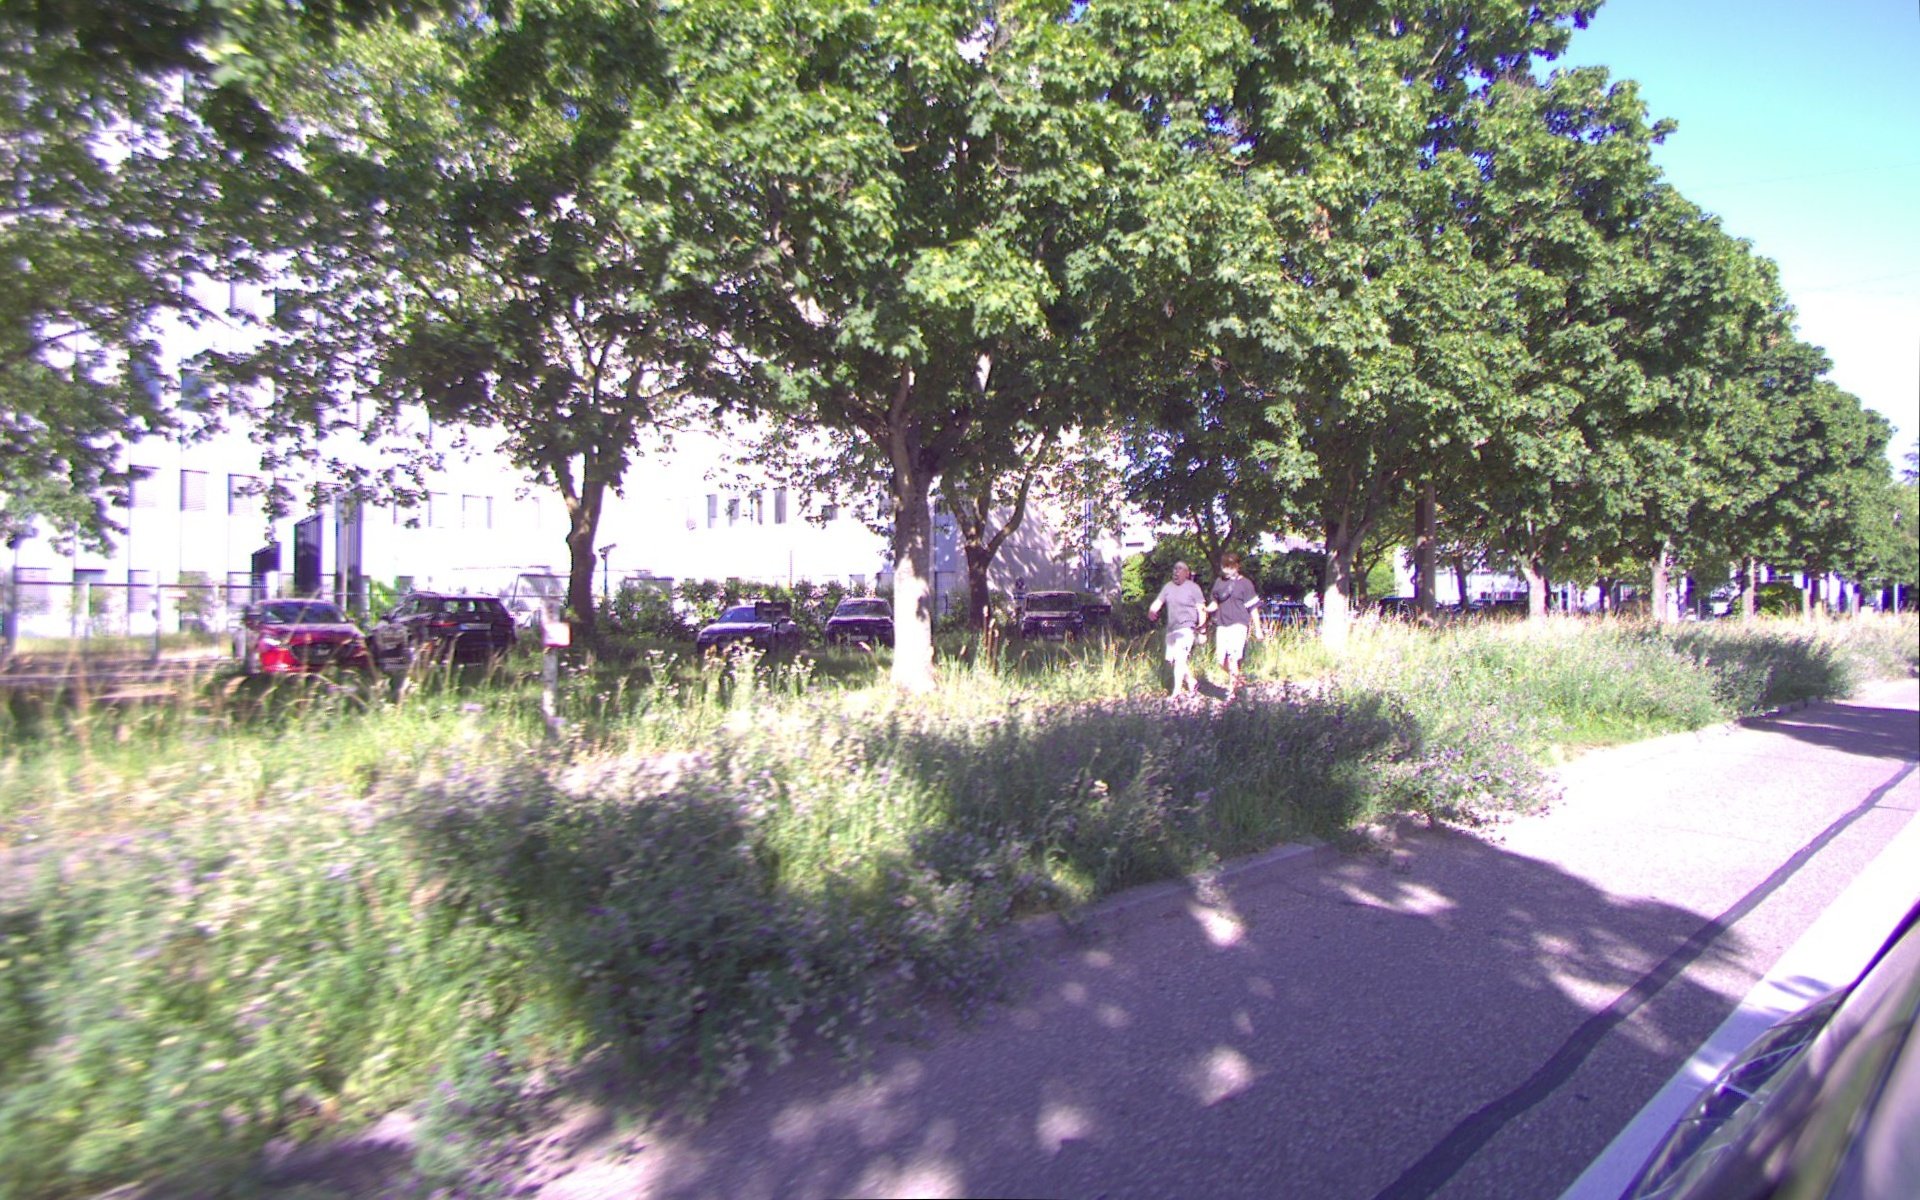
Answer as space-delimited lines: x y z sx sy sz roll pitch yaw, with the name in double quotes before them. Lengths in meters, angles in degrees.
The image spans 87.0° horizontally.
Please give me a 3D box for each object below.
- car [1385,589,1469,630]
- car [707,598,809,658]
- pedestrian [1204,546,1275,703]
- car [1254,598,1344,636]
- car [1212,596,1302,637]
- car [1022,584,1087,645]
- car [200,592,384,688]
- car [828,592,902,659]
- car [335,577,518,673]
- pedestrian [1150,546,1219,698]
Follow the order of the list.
"car" 22.868 0.446 49.813 2.043 1.900 5.179 -1 0 5
"car" -4.922 0.648 25.107 1.677 1.358 3.986 -1 0 1
"pedestrian" 3.594 0.305 12.991 0.703 1.942 0.808 -1 -1 28
"car" 13.974 0.683 41.986 1.811 1.466 4.553 0 0 -5
"car" 11.629 0.619 39.942 1.811 1.535 4.553 0 0 -5
"car" 3.072 0.445 32.582 1.886 1.774 5.446 -1 0 6
"car" -12.465 0.650 18.780 4.225 1.555 1.741 1 1 40
"car" -2.473 0.644 27.124 1.690 1.659 3.988 0 0 -1
"car" -10.700 0.417 20.177 4.329 1.721 1.741 1 1 40
"pedestrian" 3.013 0.281 13.560 0.703 1.955 0.808 -1 -1 28
